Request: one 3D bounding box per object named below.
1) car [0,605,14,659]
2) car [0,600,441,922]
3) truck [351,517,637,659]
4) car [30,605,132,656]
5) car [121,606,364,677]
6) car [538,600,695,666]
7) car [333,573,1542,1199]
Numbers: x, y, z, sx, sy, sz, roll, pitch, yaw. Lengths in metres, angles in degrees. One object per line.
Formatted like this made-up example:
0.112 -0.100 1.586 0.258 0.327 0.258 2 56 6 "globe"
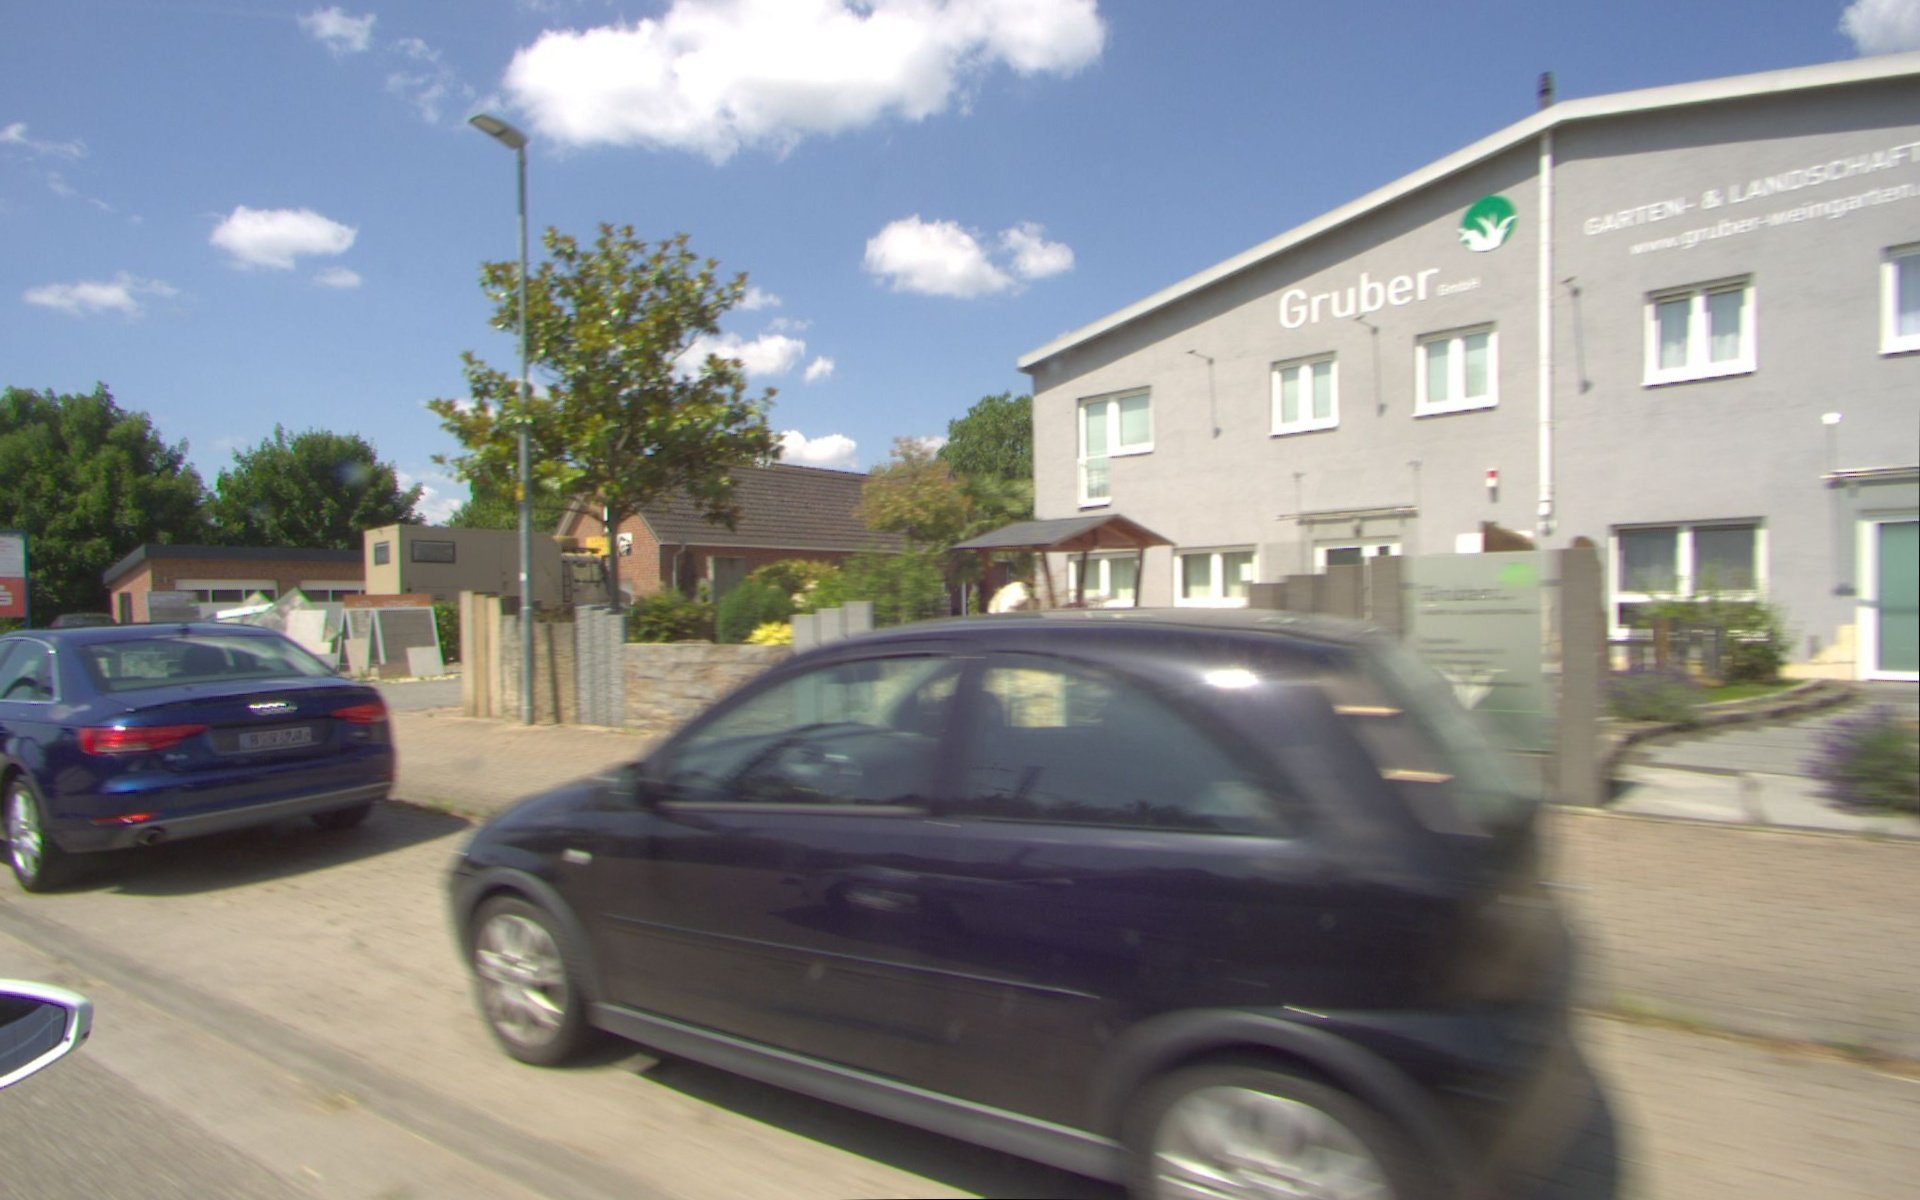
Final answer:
-28.879 0.942 28.849 3.953 1.500 1.896 -1 2 40 "car"
-5.679 0.794 6.738 4.651 1.492 1.757 -1 1 32 "car"
-12.636 -0.298 27.597 3.070 3.433 6.430 0 1 40 "truck"
-26.858 0.905 30.574 3.953 1.395 1.738 -1 2 40 "car"
-16.531 0.882 23.232 1.954 1.439 4.246 -1 0 41 "car"
-7.874 0.700 22.806 3.959 1.341 1.772 -1 0 44 "car"
-0.270 0.707 3.377 3.820 1.492 1.610 -1 1 32 "car"
